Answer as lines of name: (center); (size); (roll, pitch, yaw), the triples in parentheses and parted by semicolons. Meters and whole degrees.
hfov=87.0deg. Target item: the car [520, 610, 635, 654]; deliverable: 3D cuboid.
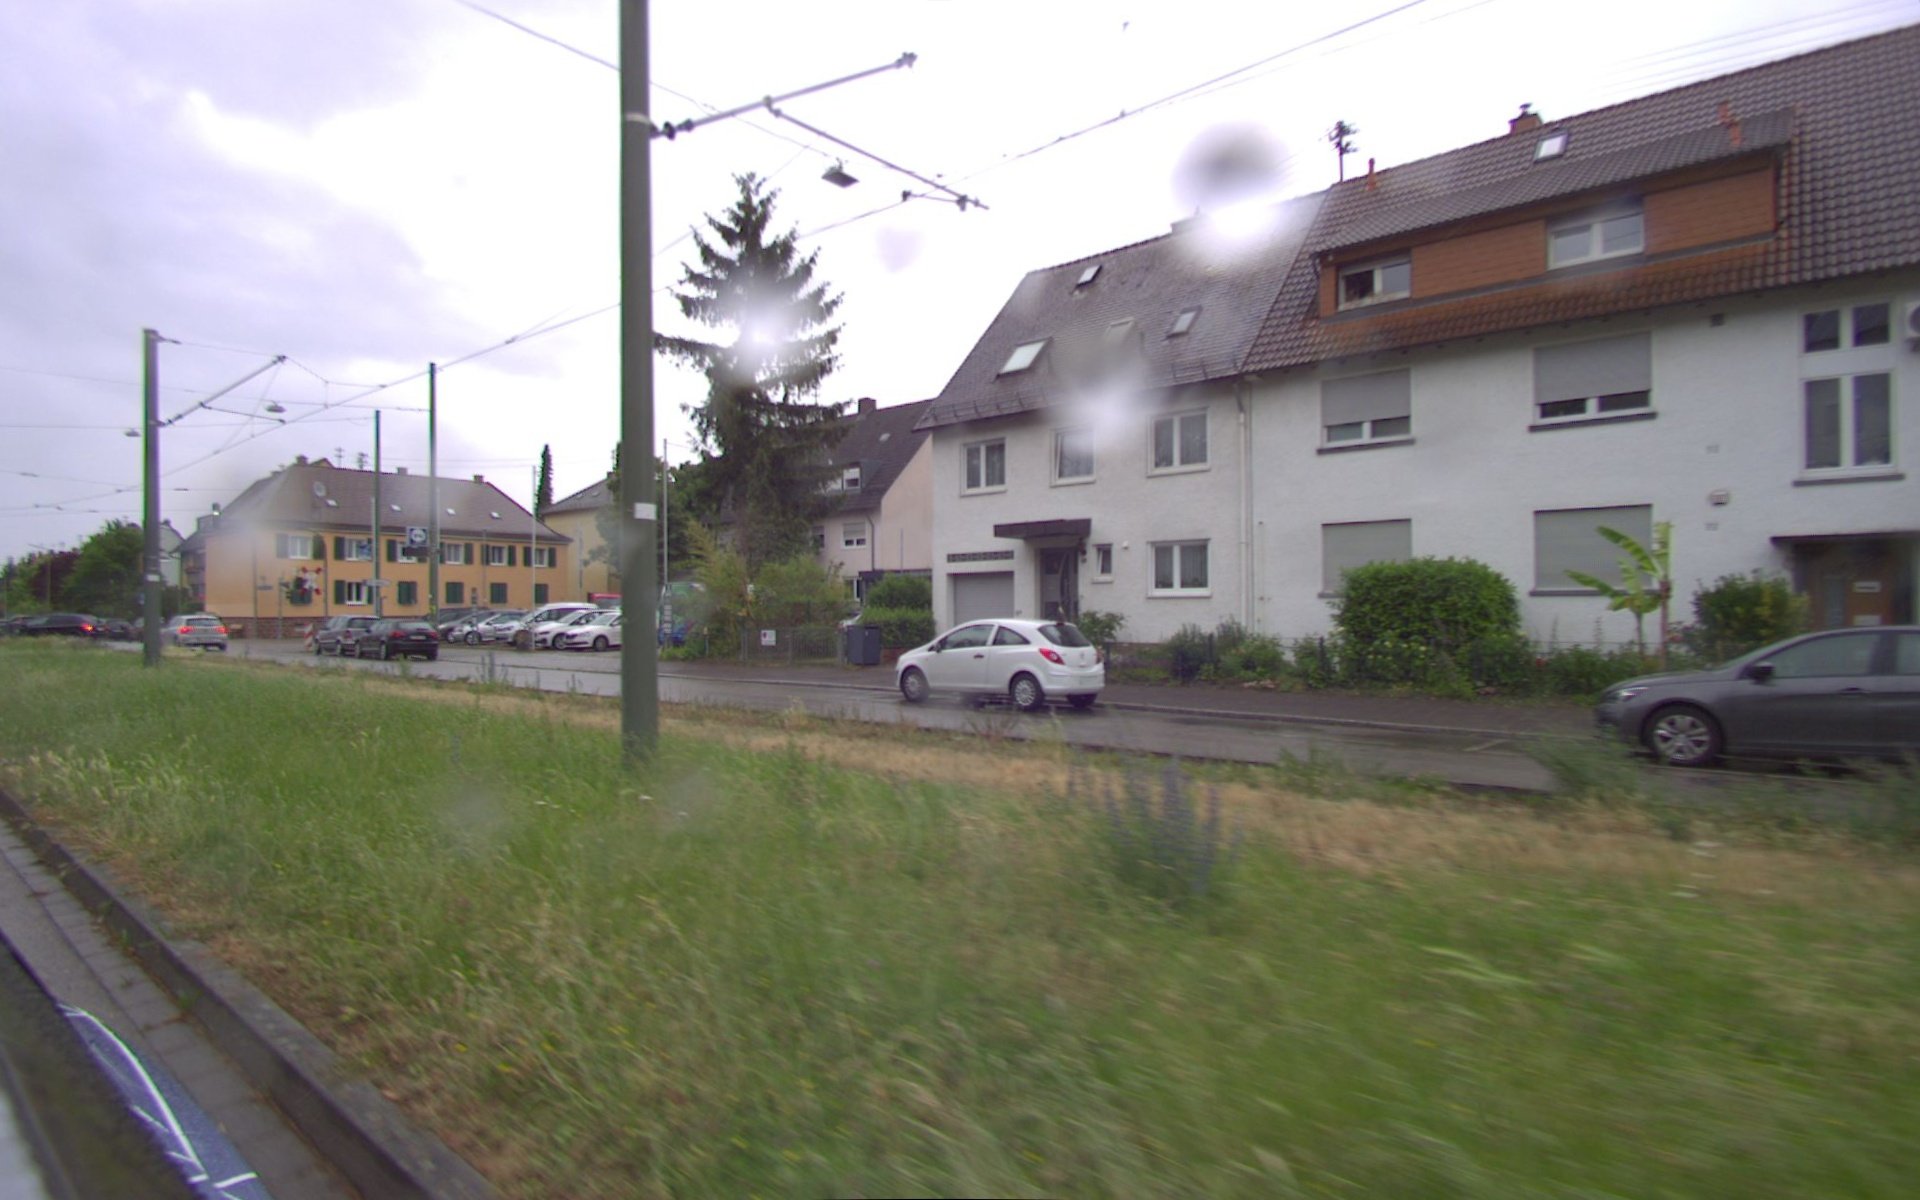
car: (-15.422, 1.260, 40.910); (1.914, 1.607, 3.943); (-1, 0, 43)

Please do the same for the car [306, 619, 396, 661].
car: (-23.413, 1.505, 38.889); (3.999, 1.541, 1.857); (-1, -2, 42)

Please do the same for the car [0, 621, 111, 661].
car: (-41.321, 1.848, 45.808); (4.054, 1.756, 2.006); (1, -2, -26)

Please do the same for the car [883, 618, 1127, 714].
car: (0.691, 1.051, 17.266); (3.997, 1.451, 1.693); (-1, -2, 41)

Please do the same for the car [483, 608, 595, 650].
car: (-17.728, 1.188, 42.675); (3.938, 1.607, 1.916); (-1, 0, -41)

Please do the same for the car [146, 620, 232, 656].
car: (-32.272, 1.553, 42.347); (4.277, 1.442, 2.078); (-1, -2, 42)

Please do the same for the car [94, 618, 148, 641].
car: (-55.011, 1.914, 66.343); (4.074, 1.442, 2.069); (-1, -2, 40)

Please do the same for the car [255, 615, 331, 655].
car: (-29.771, 1.520, 45.142); (4.001, 1.670, 1.971); (-1, 0, 44)

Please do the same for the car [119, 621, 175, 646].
car: (-48.573, 2.003, 60.448); (4.074, 1.442, 1.861); (-1, -2, 40)

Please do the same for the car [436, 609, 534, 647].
car: (-21.937, 1.270, 46.761); (3.931, 1.607, 1.919); (-1, 0, -29)

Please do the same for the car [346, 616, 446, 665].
car: (-19.952, 1.395, 35.739); (3.999, 1.602, 1.887); (-1, -2, 42)

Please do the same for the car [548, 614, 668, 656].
car: (-13.589, 1.302, 39.220); (1.914, 1.475, 3.943); (-1, 0, 43)

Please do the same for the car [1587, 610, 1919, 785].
car: (8.964, 0.884, 9.748); (4.753, 1.543, 1.867); (-1, -2, 41)

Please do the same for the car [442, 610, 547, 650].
car: (-20.509, 1.285, 44.612); (3.934, 1.607, 1.918); (-1, 0, -35)
